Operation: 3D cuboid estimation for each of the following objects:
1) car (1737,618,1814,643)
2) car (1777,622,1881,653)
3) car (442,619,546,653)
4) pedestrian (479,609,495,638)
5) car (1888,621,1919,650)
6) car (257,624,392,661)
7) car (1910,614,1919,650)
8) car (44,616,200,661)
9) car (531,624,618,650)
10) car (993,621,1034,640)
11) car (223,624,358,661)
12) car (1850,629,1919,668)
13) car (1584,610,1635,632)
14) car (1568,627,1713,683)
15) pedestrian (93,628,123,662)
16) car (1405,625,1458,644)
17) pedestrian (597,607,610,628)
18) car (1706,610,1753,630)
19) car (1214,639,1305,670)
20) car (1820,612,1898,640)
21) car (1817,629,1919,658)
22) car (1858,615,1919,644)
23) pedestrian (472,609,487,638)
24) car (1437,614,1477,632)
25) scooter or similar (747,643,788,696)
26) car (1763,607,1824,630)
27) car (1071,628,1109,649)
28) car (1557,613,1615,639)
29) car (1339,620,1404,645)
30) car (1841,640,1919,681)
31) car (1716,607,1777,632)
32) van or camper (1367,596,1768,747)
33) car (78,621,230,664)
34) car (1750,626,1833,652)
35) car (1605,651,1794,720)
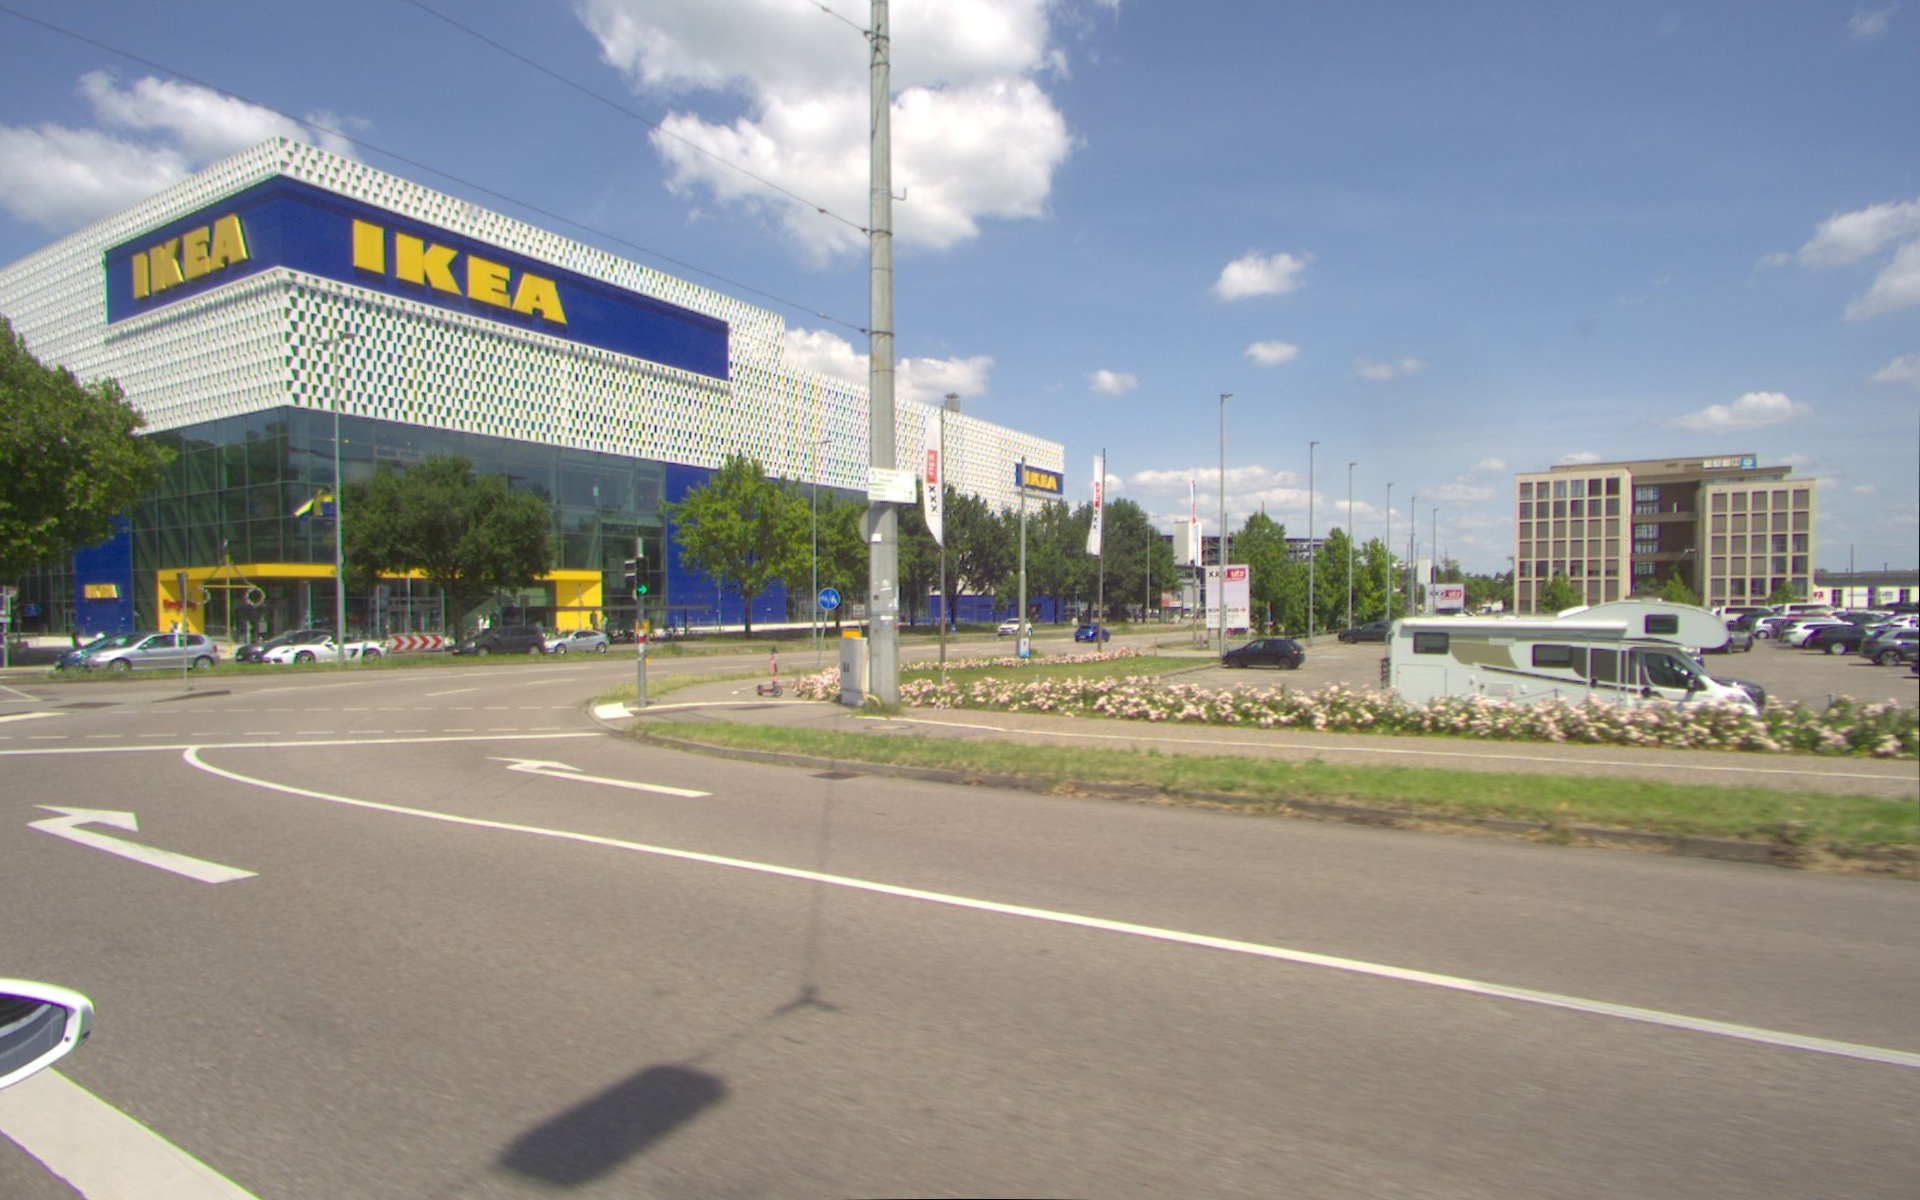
[{"bbox_3d":[58.349,2.160,71.753,4.115,1.724,1.843,-1,-1,35],"label":"car"},{"bbox_3d":[46.039,1.971,53.159,3.943,1.546,1.686,-1,-1,33],"label":"car"},{"bbox_3d":[-22.992,1.772,49.534,1.837,1.605,4.391,-1,-2,33],"label":"car"},{"bbox_3d":[-33.401,1.660,70.761,0.724,2.040,0.794,0,0,39],"label":"pedestrian"},{"bbox_3d":[54.770,2.000,56.161,3.677,1.622,1.686,-1,-1,33],"label":"car"},{"bbox_3d":[-25.246,1.654,39.914,1.778,1.416,4.211,-1,-2,33],"label":"car"},{"bbox_3d":[48.622,1.526,47.777,4.457,1.756,1.989,-1,-1,34],"label":"car"},{"bbox_3d":[-30.817,1.399,36.946,1.970,1.575,3.983,-1,-2,30],"label":"car"},{"bbox_3d":[-22.009,2.095,57.315,1.837,1.416,4.390,-1,-2,33],"label":"car"},{"bbox_3d":[4.868,2.762,90.951,1.972,1.661,4.059,-1,-2,34],"label":"car"},{"bbox_3d":[-28.027,1.734,42.081,1.826,1.461,4.395,-1,-2,30],"label":"car"},{"bbox_3d":[39.260,1.976,41.066,3.945,1.545,1.641,-1,-1,34],"label":"car"},{"bbox_3d":[61.002,1.969,94.067,3.945,2.040,1.989,-1,-1,34],"label":"car"},{"bbox_3d":[25.460,2.022,37.606,4.427,1.937,1.581,0,0,35],"label":"car"},{"bbox_3d":[-41.382,2.190,48.630,0.623,1.607,0.917,0,0,26],"label":"pedestrian"},{"bbox_3d":[41.958,3.042,89.096,3.948,1.705,1.987,-1,-1,37],"label":"car"},{"bbox_3d":[-28.029,1.355,78.778,0.571,1.607,0.766,0,0,26],"label":"pedestrian"},{"bbox_3d":[71.502,1.828,93.096,3.334,1.828,1.693,-1,-1,34],"label":"car"},{"bbox_3d":[14.464,2.592,48.385,3.887,1.394,1.845,-1,-1,33],"label":"car"},{"bbox_3d":[66.139,1.912,73.776,3.941,2.039,1.991,-1,-1,31],"label":"car"},{"bbox_3d":[43.790,2.072,47.986,3.943,1.327,1.686,-1,-2,33],"label":"car"},{"bbox_3d":[58.663,1.829,62.122,4.114,1.724,1.844,-1,-1,34],"label":"car"},{"bbox_3d":[-34.279,1.684,71.422,0.725,2.040,0.792,0,0,43],"label":"pedestrian"},{"bbox_3d":[57.054,2.593,114.993,3.945,2.040,1.989,-1,-1,34],"label":"car"},{"bbox_3d":[-4.888,1.747,25.391,0.475,1.307,1.268,1,-1,-39],"label":"scooter or similar"},{"bbox_3d":[75.416,1.663,90.641,3.943,2.039,1.990,-1,-1,32],"label":"car"},{"bbox_3d":[10.671,3.144,82.152,1.736,1.632,3.530,-1,-1,32],"label":"car"},{"bbox_3d":[50.357,2.081,80.564,3.944,2.040,1.537,-1,-1,34],"label":"car"},{"bbox_3d":[29.218,2.292,71.106,4.063,1.705,1.991,-1,-1,31],"label":"car"},{"bbox_3d":[34.174,2.141,35.519,4.199,1.430,1.850,-1,-2,35],"label":"car"},{"bbox_3d":[66.425,1.638,84.624,3.948,2.039,1.988,-1,-1,36],"label":"car"},{"bbox_3d":[13.648,1.527,23.100,7.511,2.983,2.702,-1,-2,35],"label":"van or camper"},{"bbox_3d":[-28.146,1.457,35.087,1.779,1.415,3.815,-1,-2,34],"label":"car"},{"bbox_3d":[54.091,2.507,65.202,3.943,1.622,1.686,-1,-1,33],"label":"car"},{"bbox_3d":[19.922,2.259,27.217,3.943,1.639,1.990,-1,-1,32],"label":"car"}]
